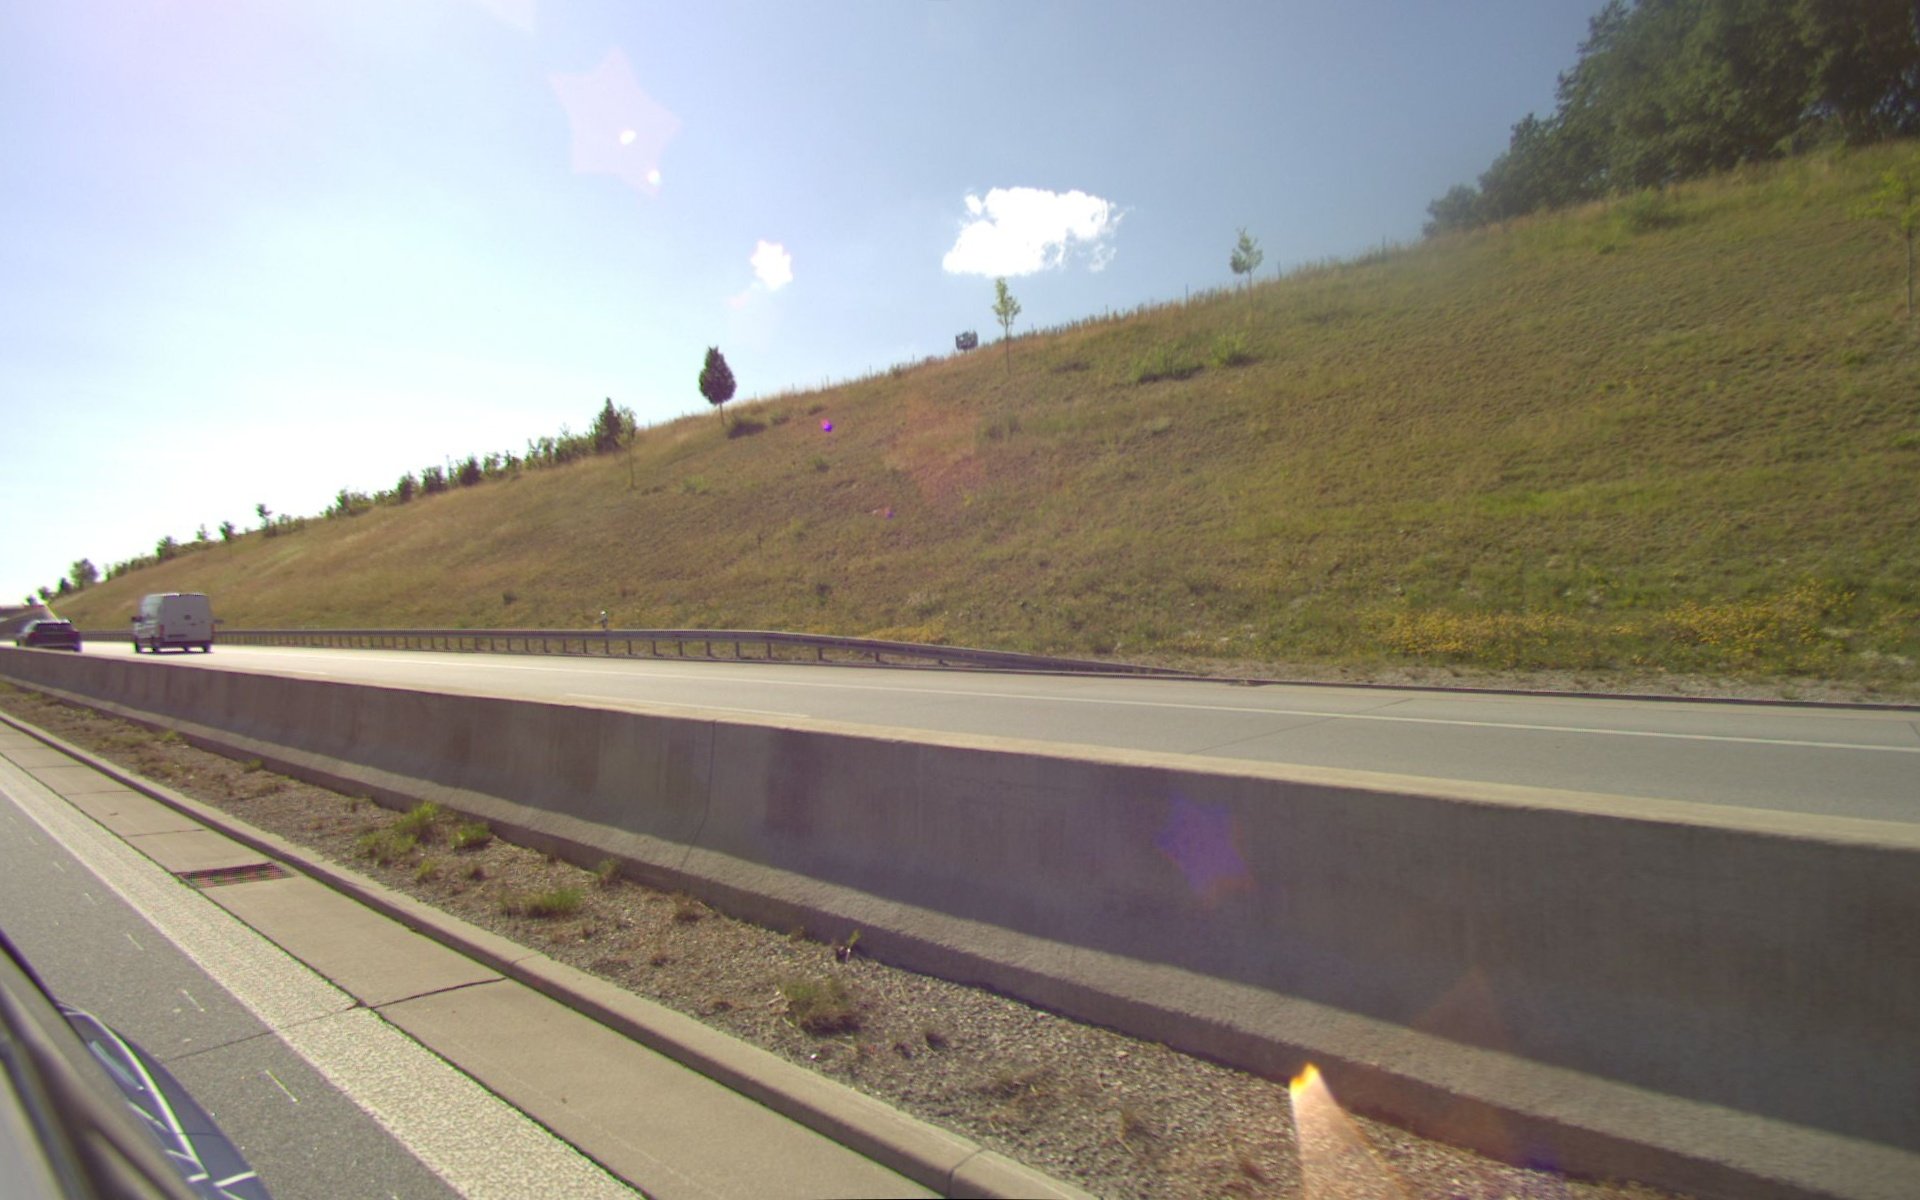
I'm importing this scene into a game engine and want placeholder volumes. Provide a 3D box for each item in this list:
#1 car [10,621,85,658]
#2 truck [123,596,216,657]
[{"bbox_3d":[-38.899,1.667,43.119,4.330,1.472,1.834,-2,-1,41],"label":"car"},{"bbox_3d":[-35.032,1.176,44.794,5.947,2.479,2.091,-2,-1,40],"label":"truck"}]
